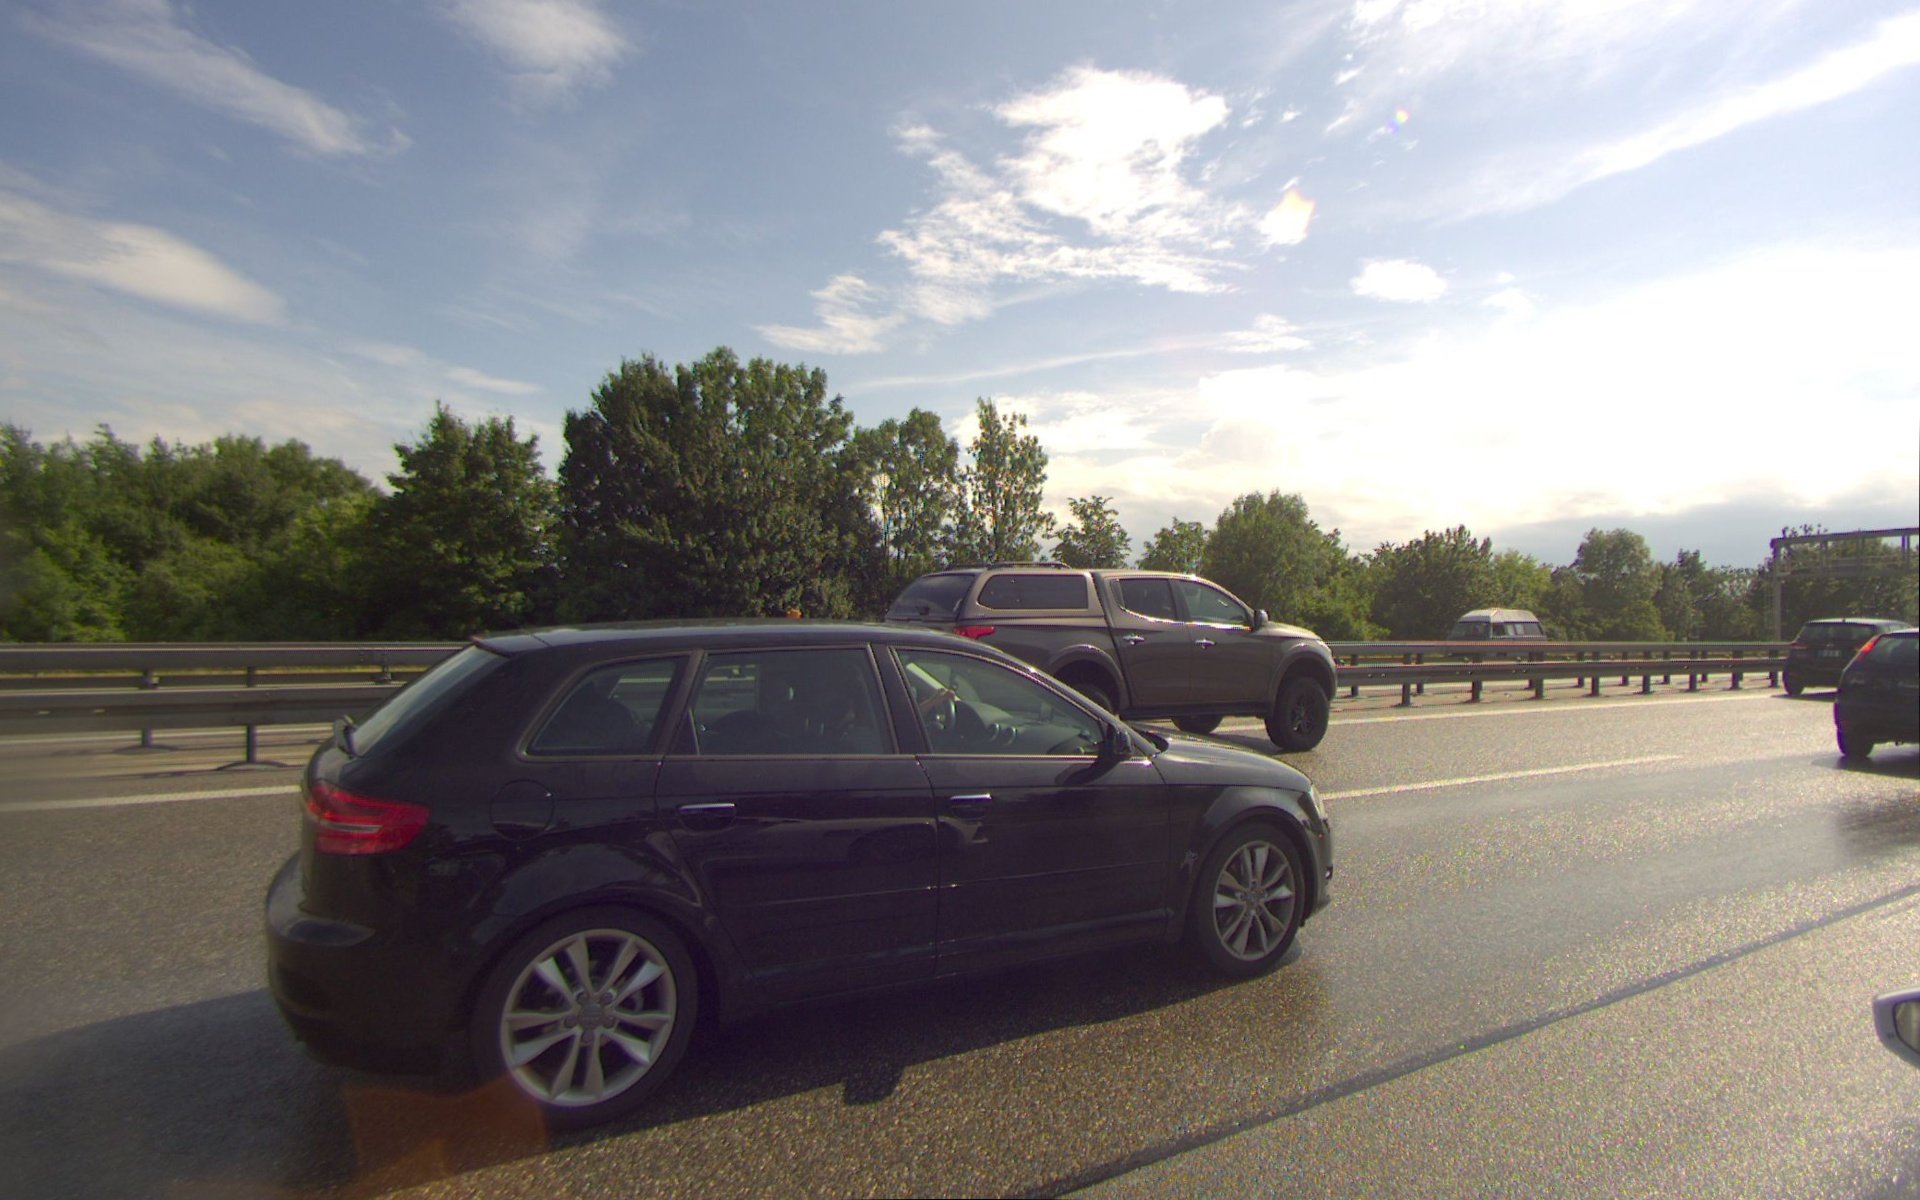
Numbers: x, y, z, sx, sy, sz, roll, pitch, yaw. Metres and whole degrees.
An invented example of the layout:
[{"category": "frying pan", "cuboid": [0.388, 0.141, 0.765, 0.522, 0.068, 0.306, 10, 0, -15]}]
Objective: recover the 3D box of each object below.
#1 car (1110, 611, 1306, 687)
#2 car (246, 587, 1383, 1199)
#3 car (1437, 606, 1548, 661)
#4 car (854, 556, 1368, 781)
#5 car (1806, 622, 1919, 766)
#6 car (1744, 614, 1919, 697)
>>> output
[{"category": "car", "cuboid": [5.199, 0.990, 20.964, 3.953, 1.461, 1.659, 1, -1, -30]}, {"category": "car", "cuboid": [-0.337, 0.730, 4.098, 4.006, 1.452, 1.742, 1, 0, -30]}, {"category": "car", "cuboid": [20.931, 1.308, 39.458, 4.315, 2.040, 1.982, 1, 0, -33]}, {"category": "car", "cuboid": [1.721, 0.612, 10.467, 5.354, 1.869, 1.798, 1, 0, -30]}, {"category": "car", "cuboid": [11.537, 1.012, 11.387, 3.953, 1.462, 1.750, 1, 0, -30]}, {"category": "car", "cuboid": [18.640, 1.132, 21.465, 3.872, 1.599, 1.773, 1, 0, -32]}]
